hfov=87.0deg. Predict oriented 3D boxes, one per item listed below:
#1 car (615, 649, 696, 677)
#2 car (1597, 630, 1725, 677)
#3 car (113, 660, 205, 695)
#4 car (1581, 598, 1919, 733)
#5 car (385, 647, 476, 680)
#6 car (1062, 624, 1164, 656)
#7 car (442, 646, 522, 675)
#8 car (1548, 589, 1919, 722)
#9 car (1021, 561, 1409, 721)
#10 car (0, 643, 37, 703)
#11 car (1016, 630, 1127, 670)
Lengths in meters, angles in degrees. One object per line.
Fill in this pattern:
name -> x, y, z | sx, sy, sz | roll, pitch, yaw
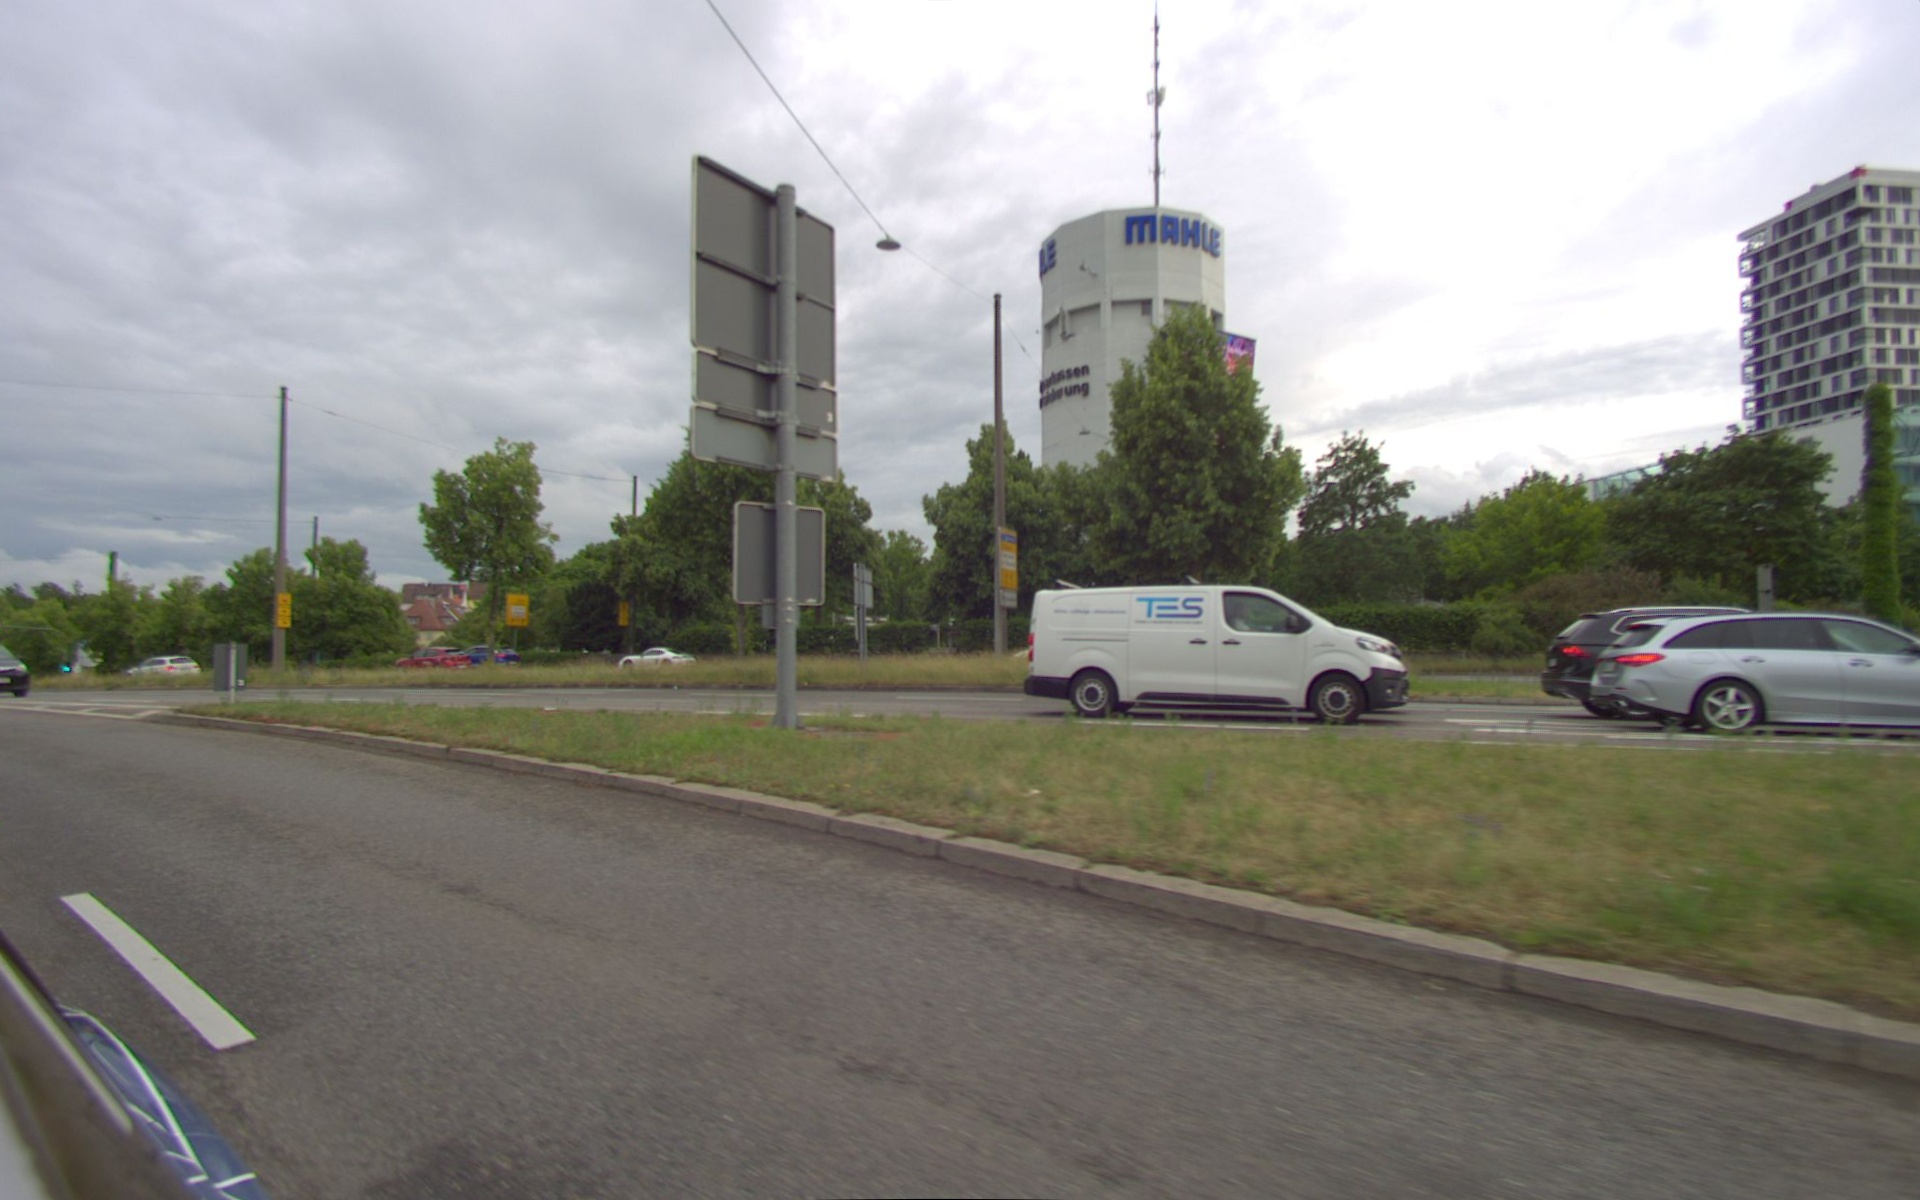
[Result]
car -> -16.099, 3.323, 53.493 | 3.954, 1.402, 1.654 | -3, -3, 22
car -> 25.459, 1.932, 36.836 | 3.727, 1.586, 1.713 | -2, -2, 36
car -> -44.831, 4.311, 56.617 | 4.839, 1.784, 1.985 | -2, -2, 23
car -> 10.176, 0.773, 11.946 | 4.487, 1.446, 1.831 | -2, -4, 20
car -> -26.757, 3.192, 51.121 | 3.969, 1.543, 1.902 | -2, -3, 20
car -> 11.118, 2.907, 73.688 | 6.949, 2.147, 2.374 | -2, -1, 21
car -> -25.961, 3.289, 54.969 | 3.958, 1.453, 1.867 | -3, -3, 25
car -> 11.192, 0.806, 14.873 | 4.041, 1.694, 1.832 | -3, 0, 20
car -> 3.568, 0.613, 14.451 | 5.057, 1.988, 1.896 | -1, -4, 22
car -> -27.246, 2.051, 27.715 | 4.027, 1.577, 1.783 | -4, -4, 30
car -> 5.128, 2.291, 46.508 | 4.706, 1.684, 1.988 | -2, -2, 19
